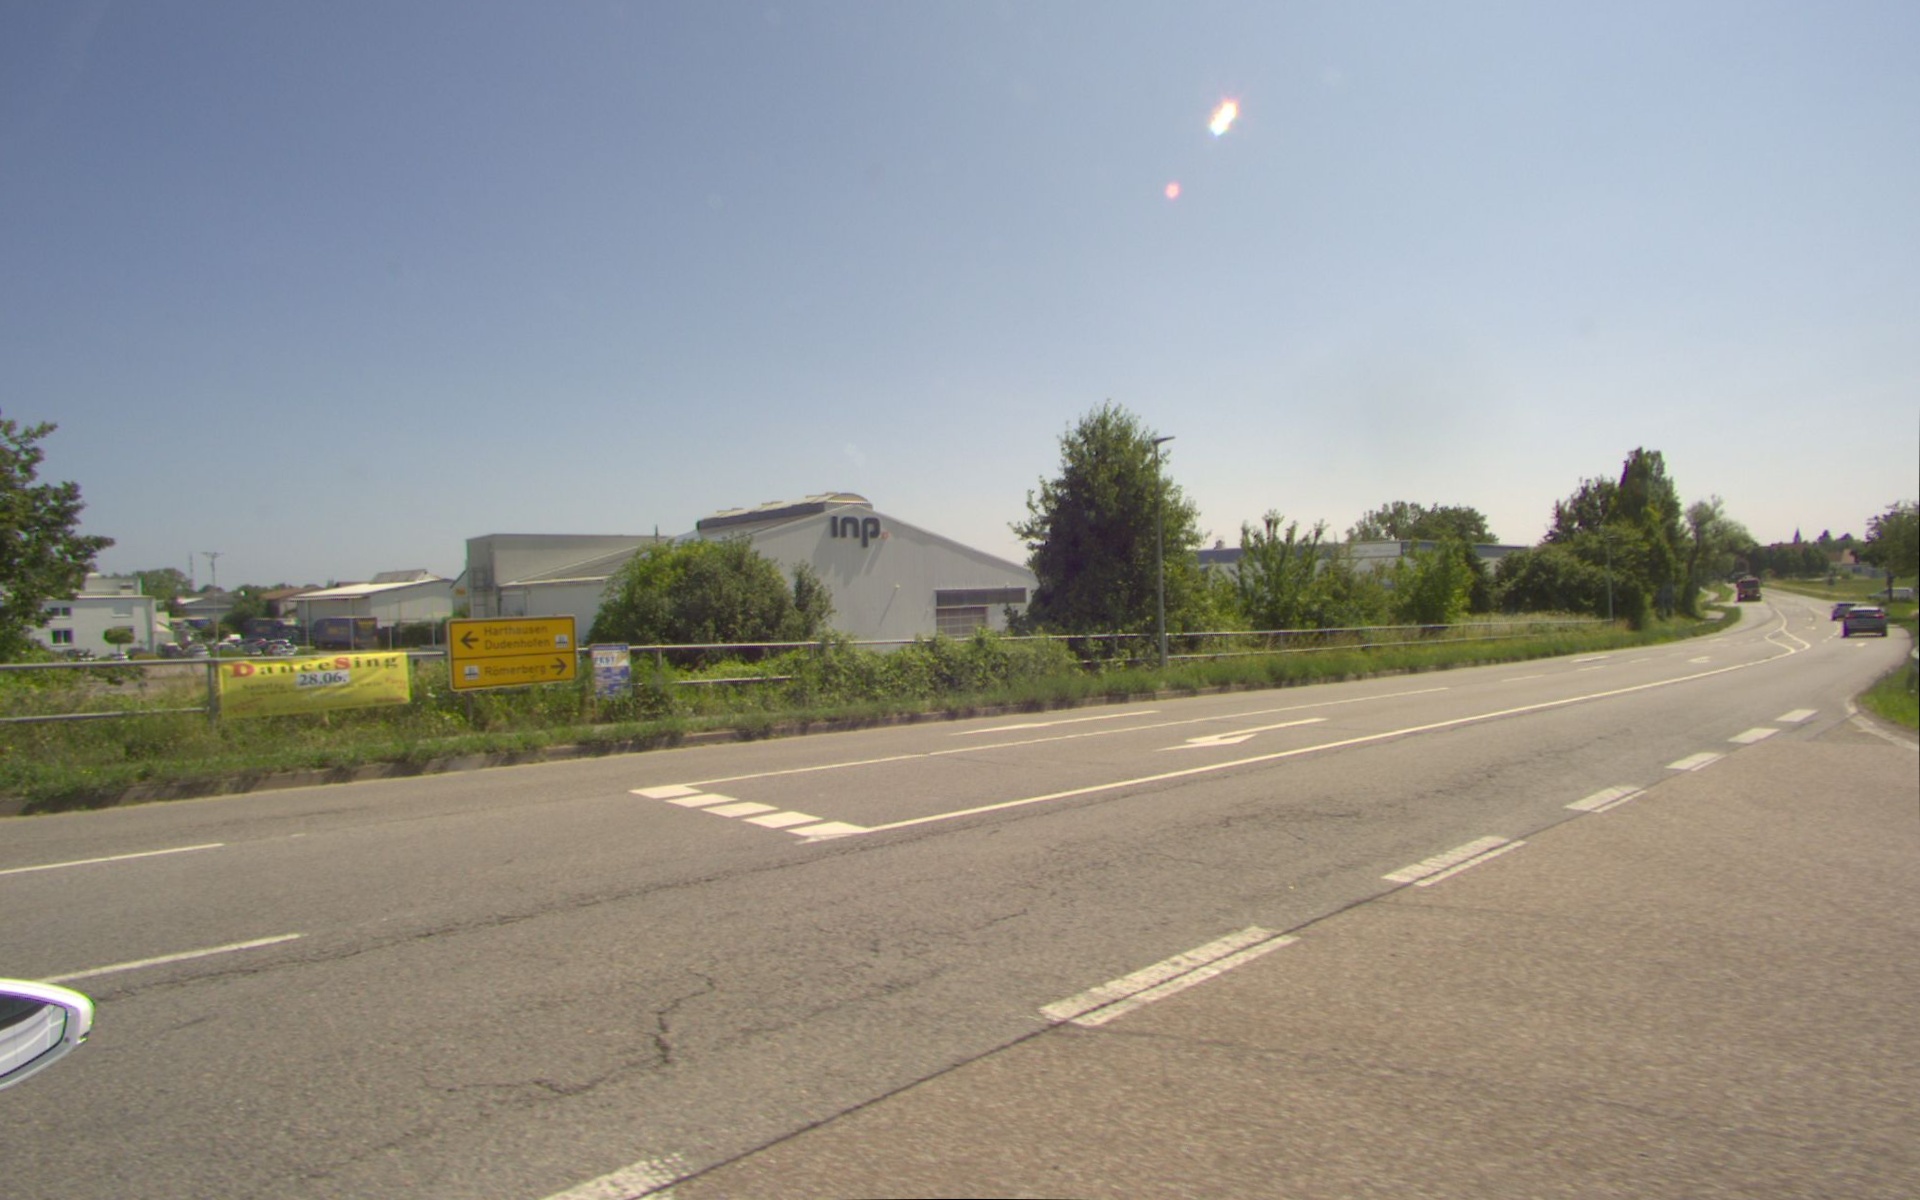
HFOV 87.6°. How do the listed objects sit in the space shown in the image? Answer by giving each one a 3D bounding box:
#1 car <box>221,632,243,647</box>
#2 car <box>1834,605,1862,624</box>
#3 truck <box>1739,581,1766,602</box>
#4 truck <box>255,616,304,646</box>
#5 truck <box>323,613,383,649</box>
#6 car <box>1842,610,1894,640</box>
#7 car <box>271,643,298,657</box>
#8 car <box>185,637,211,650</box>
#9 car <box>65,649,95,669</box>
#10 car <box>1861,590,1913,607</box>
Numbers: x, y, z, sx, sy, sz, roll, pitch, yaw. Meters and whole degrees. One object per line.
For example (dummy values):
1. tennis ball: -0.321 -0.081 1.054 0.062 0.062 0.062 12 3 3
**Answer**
1. car: -102.406 5.586 140.866 3.957 2.040 1.707 -1 0 43
2. car: 75.213 1.254 84.820 3.633 1.593 1.512 0 -1 -44
3. truck: 111.709 -1.160 141.176 2.828 2.824 6.907 -1 0 38
4. truck: -104.340 4.662 153.453 14.441 4.367 3.392 -1 -1 44
5. truck: -79.079 4.006 130.297 3.685 4.367 13.208 0 -1 -45
6. car: 49.901 1.366 54.989 4.446 1.603 1.781 1 -2 -43
7. car: -75.299 5.582 111.649 3.795 1.381 1.673 -1 2 43
8. car: -101.687 5.785 133.553 4.811 1.753 1.983 -1 -1 43
9. car: -97.483 6.463 110.947 4.810 2.040 1.983 -1 -1 42
10. car: 115.831 -0.151 125.169 1.971 2.040 4.394 0 -1 -30
